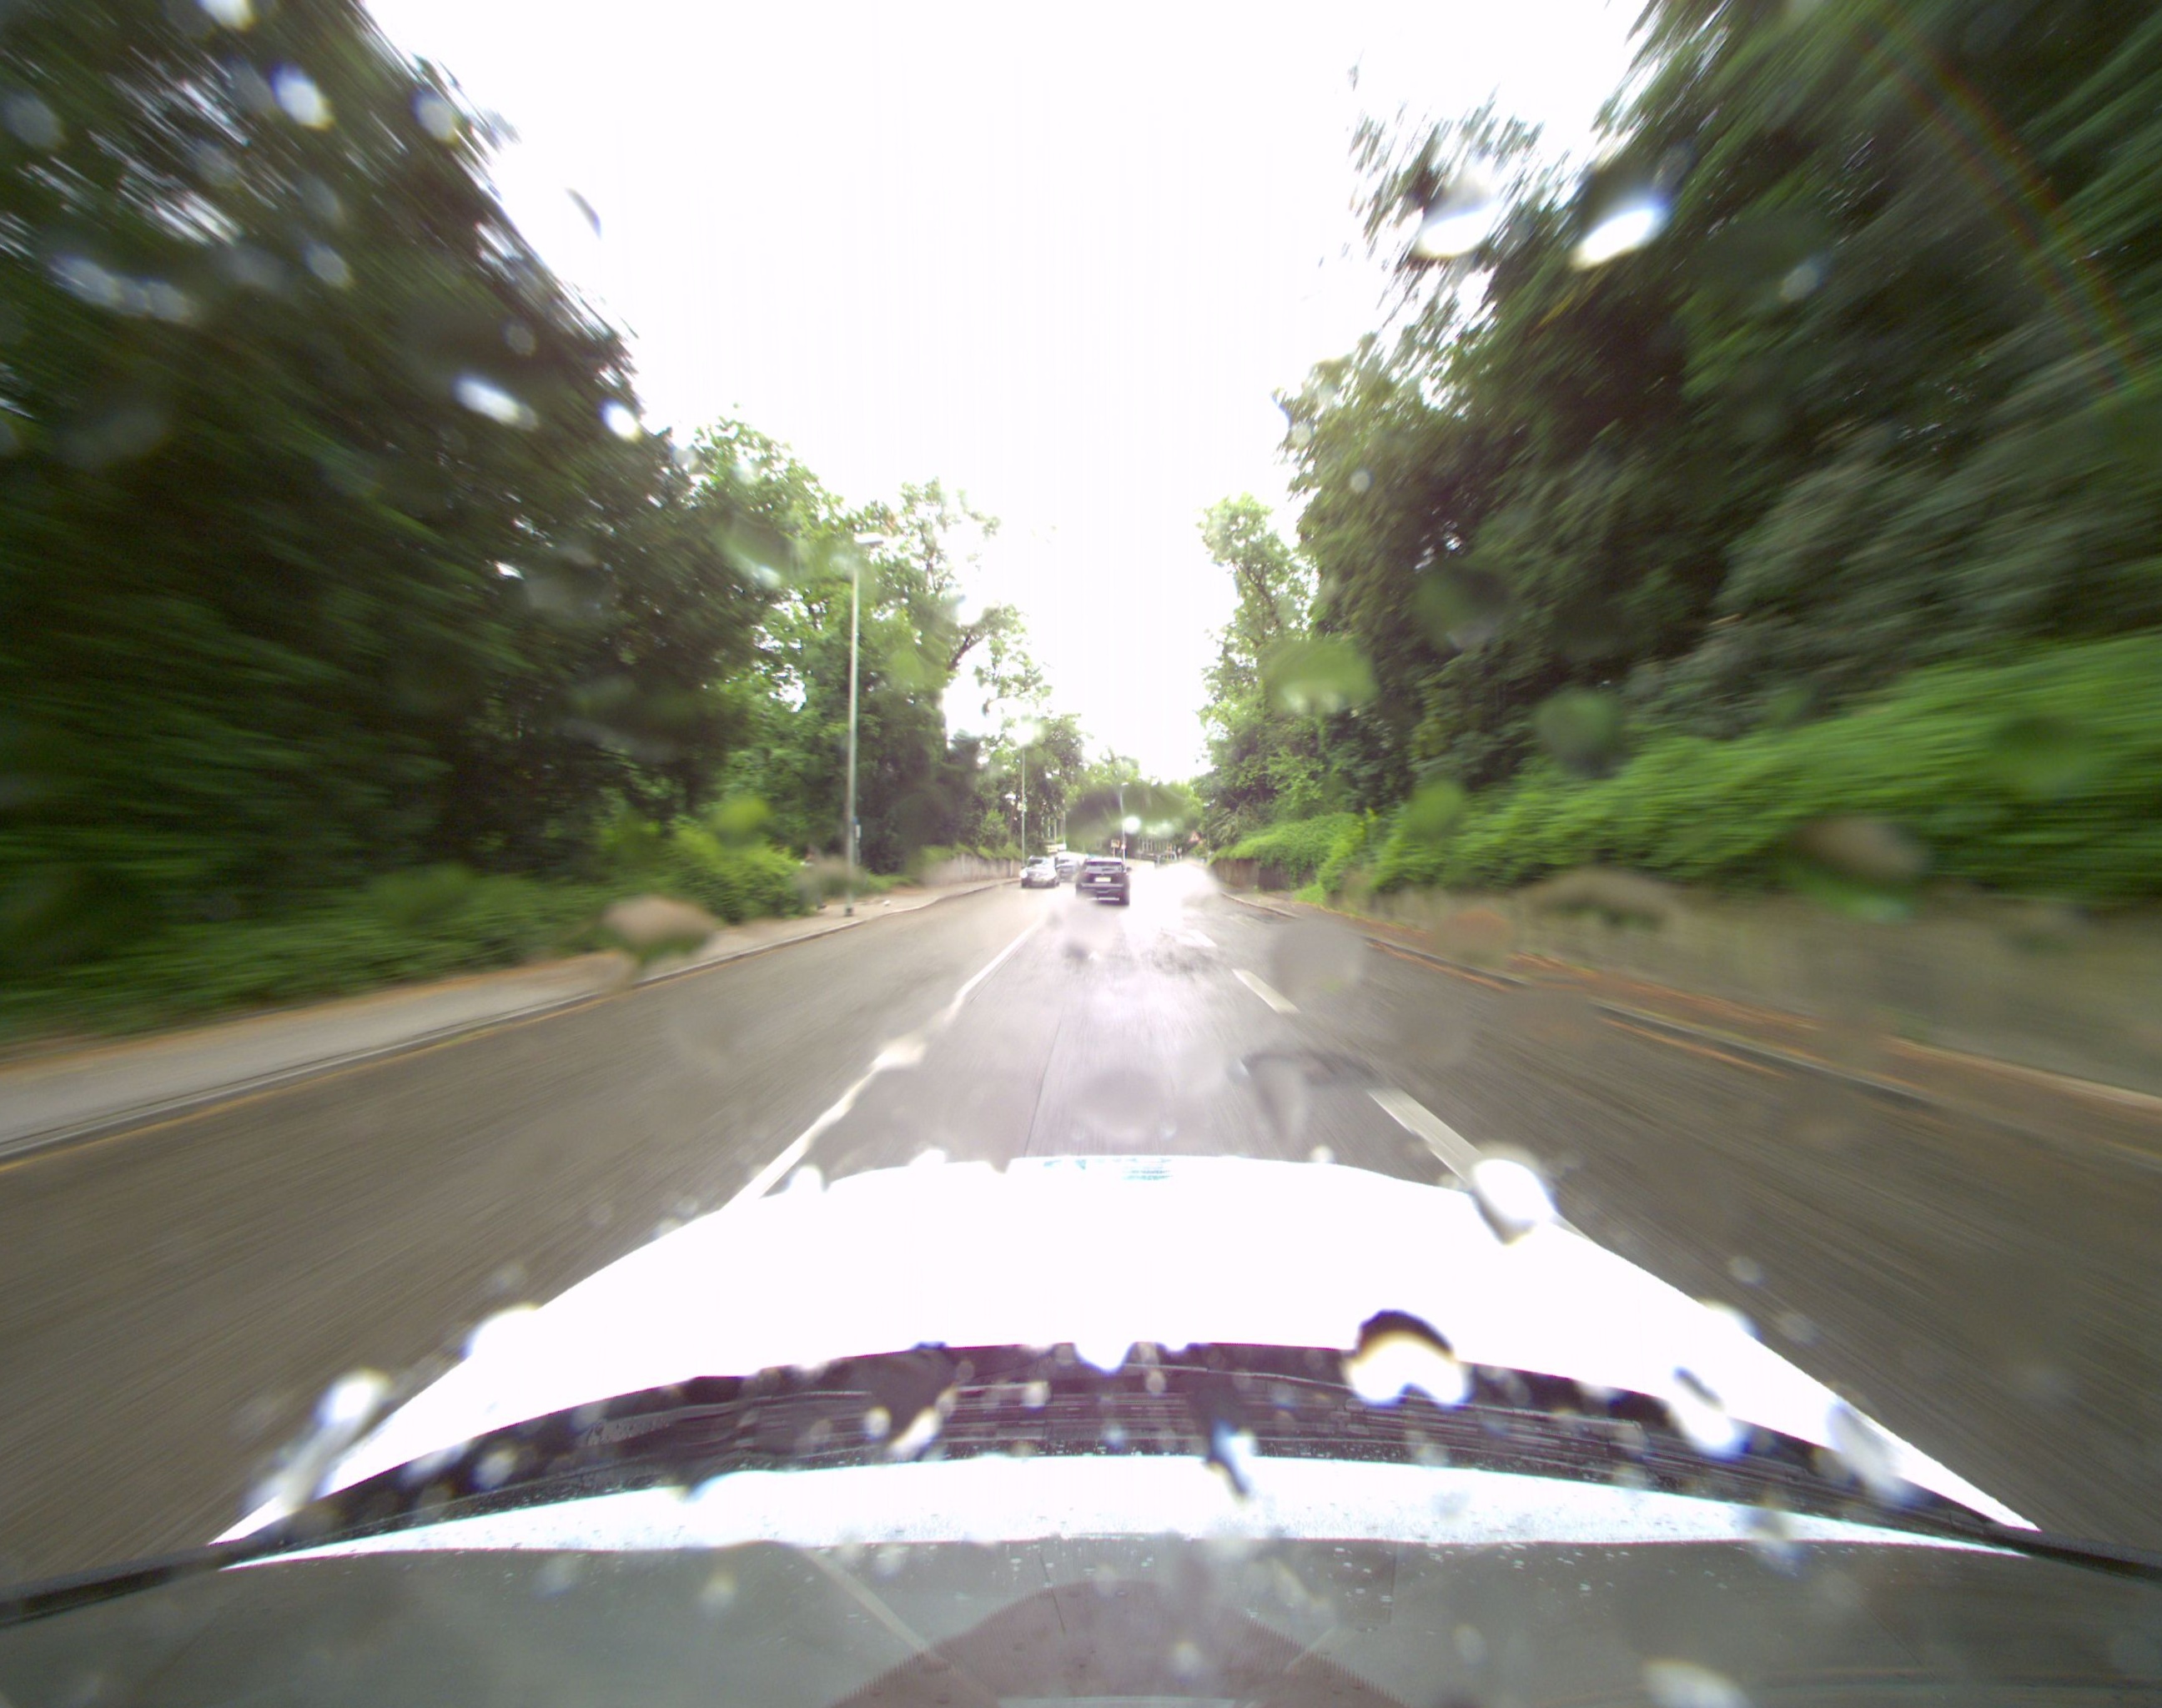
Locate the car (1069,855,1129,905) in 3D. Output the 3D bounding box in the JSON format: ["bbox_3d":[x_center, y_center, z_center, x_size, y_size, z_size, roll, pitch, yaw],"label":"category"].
[{"bbox_3d":[0.646,0.858,28.667,1.921,1.613,4.001,-1,0,2],"label":"car"}]

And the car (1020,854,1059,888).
[{"bbox_3d":[-2.149,0.857,43.310,1.824,1.711,4.000,-1,0,0],"label":"car"}]

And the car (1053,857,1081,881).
[{"bbox_3d":[-0.869,0.978,53.600,1.669,1.496,3.461,-1,0,1],"label":"car"}]

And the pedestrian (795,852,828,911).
[{"bbox_3d":[-7.681,0.772,23.206,0.711,1.644,0.706,-1,-1,-35],"label":"pedestrian"}]
